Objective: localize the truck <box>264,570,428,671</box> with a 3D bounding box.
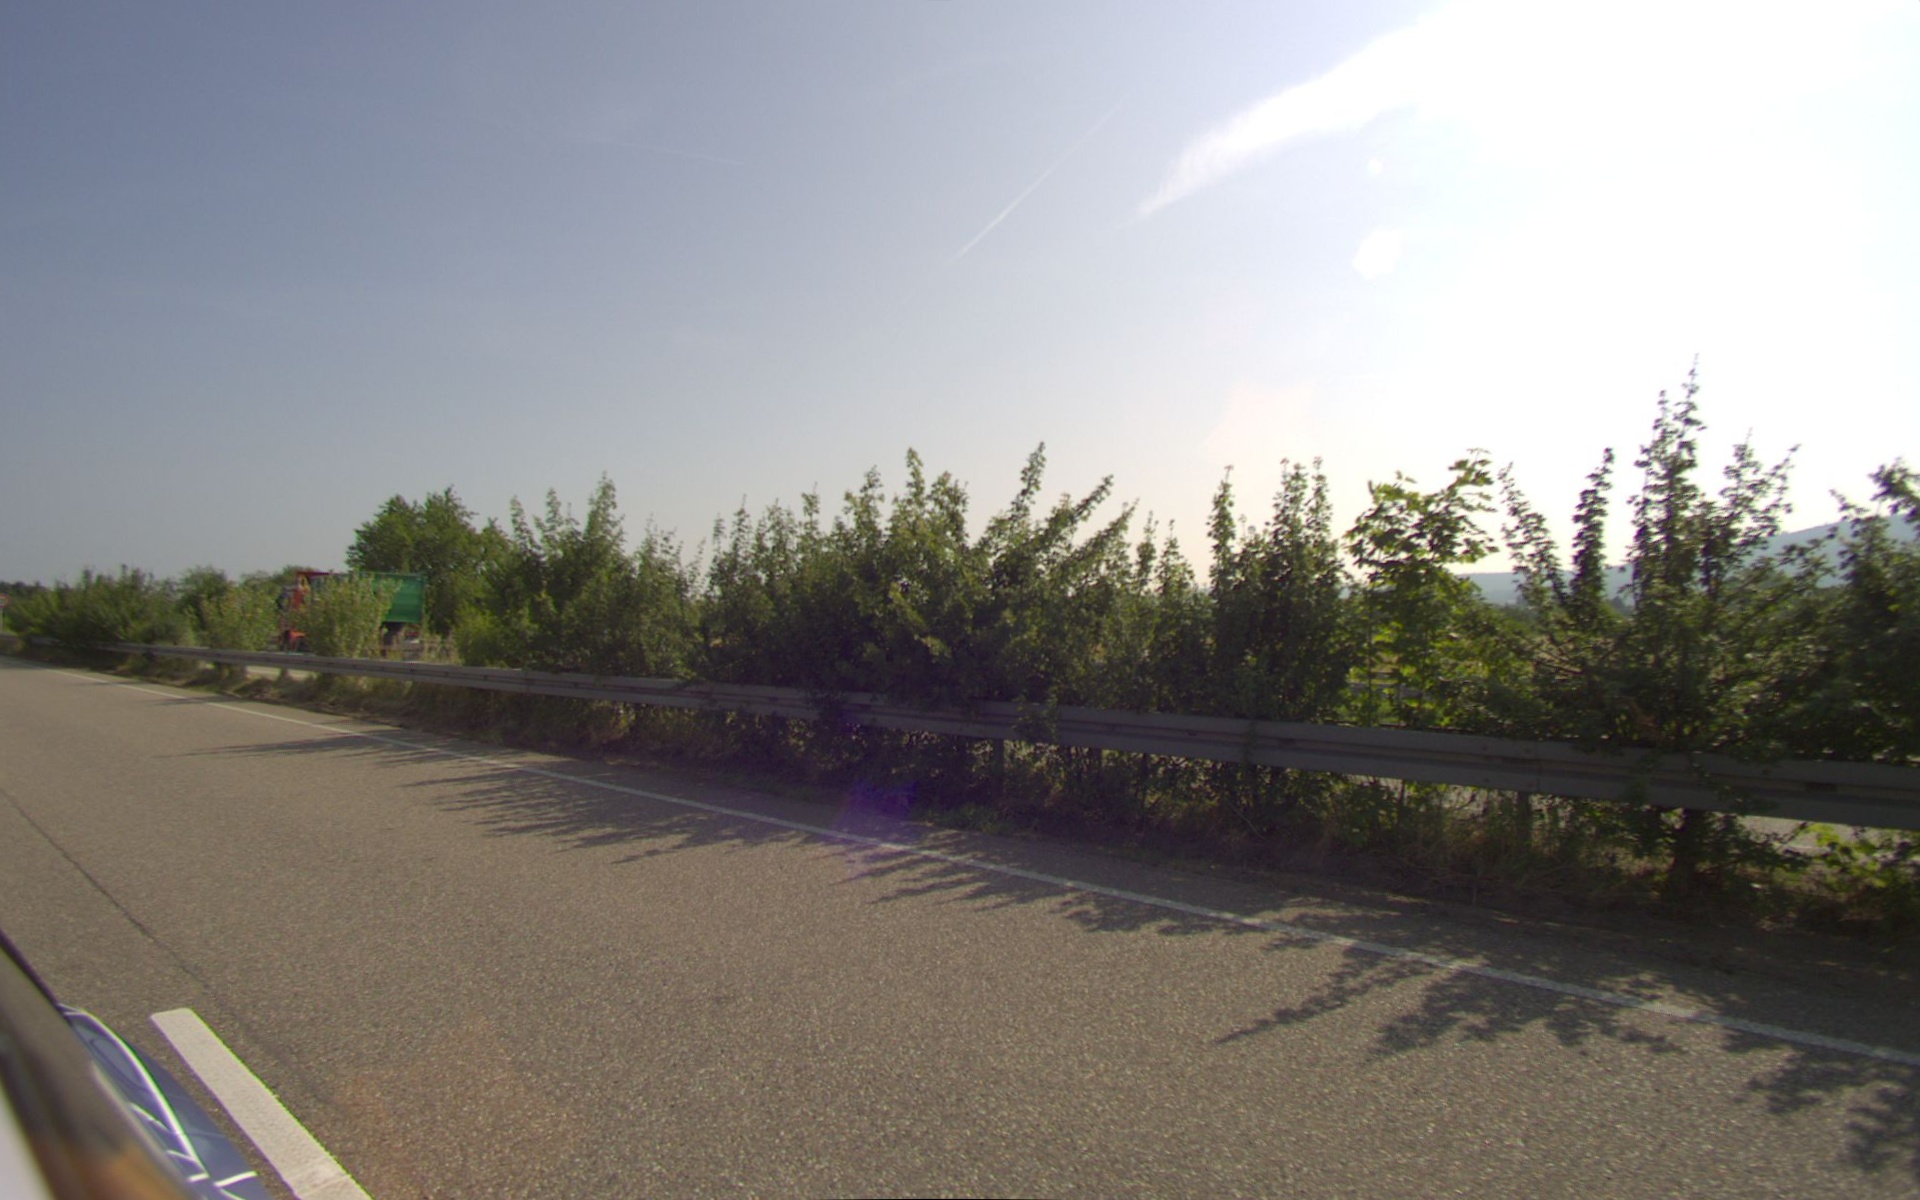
[{"bbox_3d":[-24.720,0.825,40.427,10.381,3.616,2.575,-1,-2,41],"label":"truck"}]
